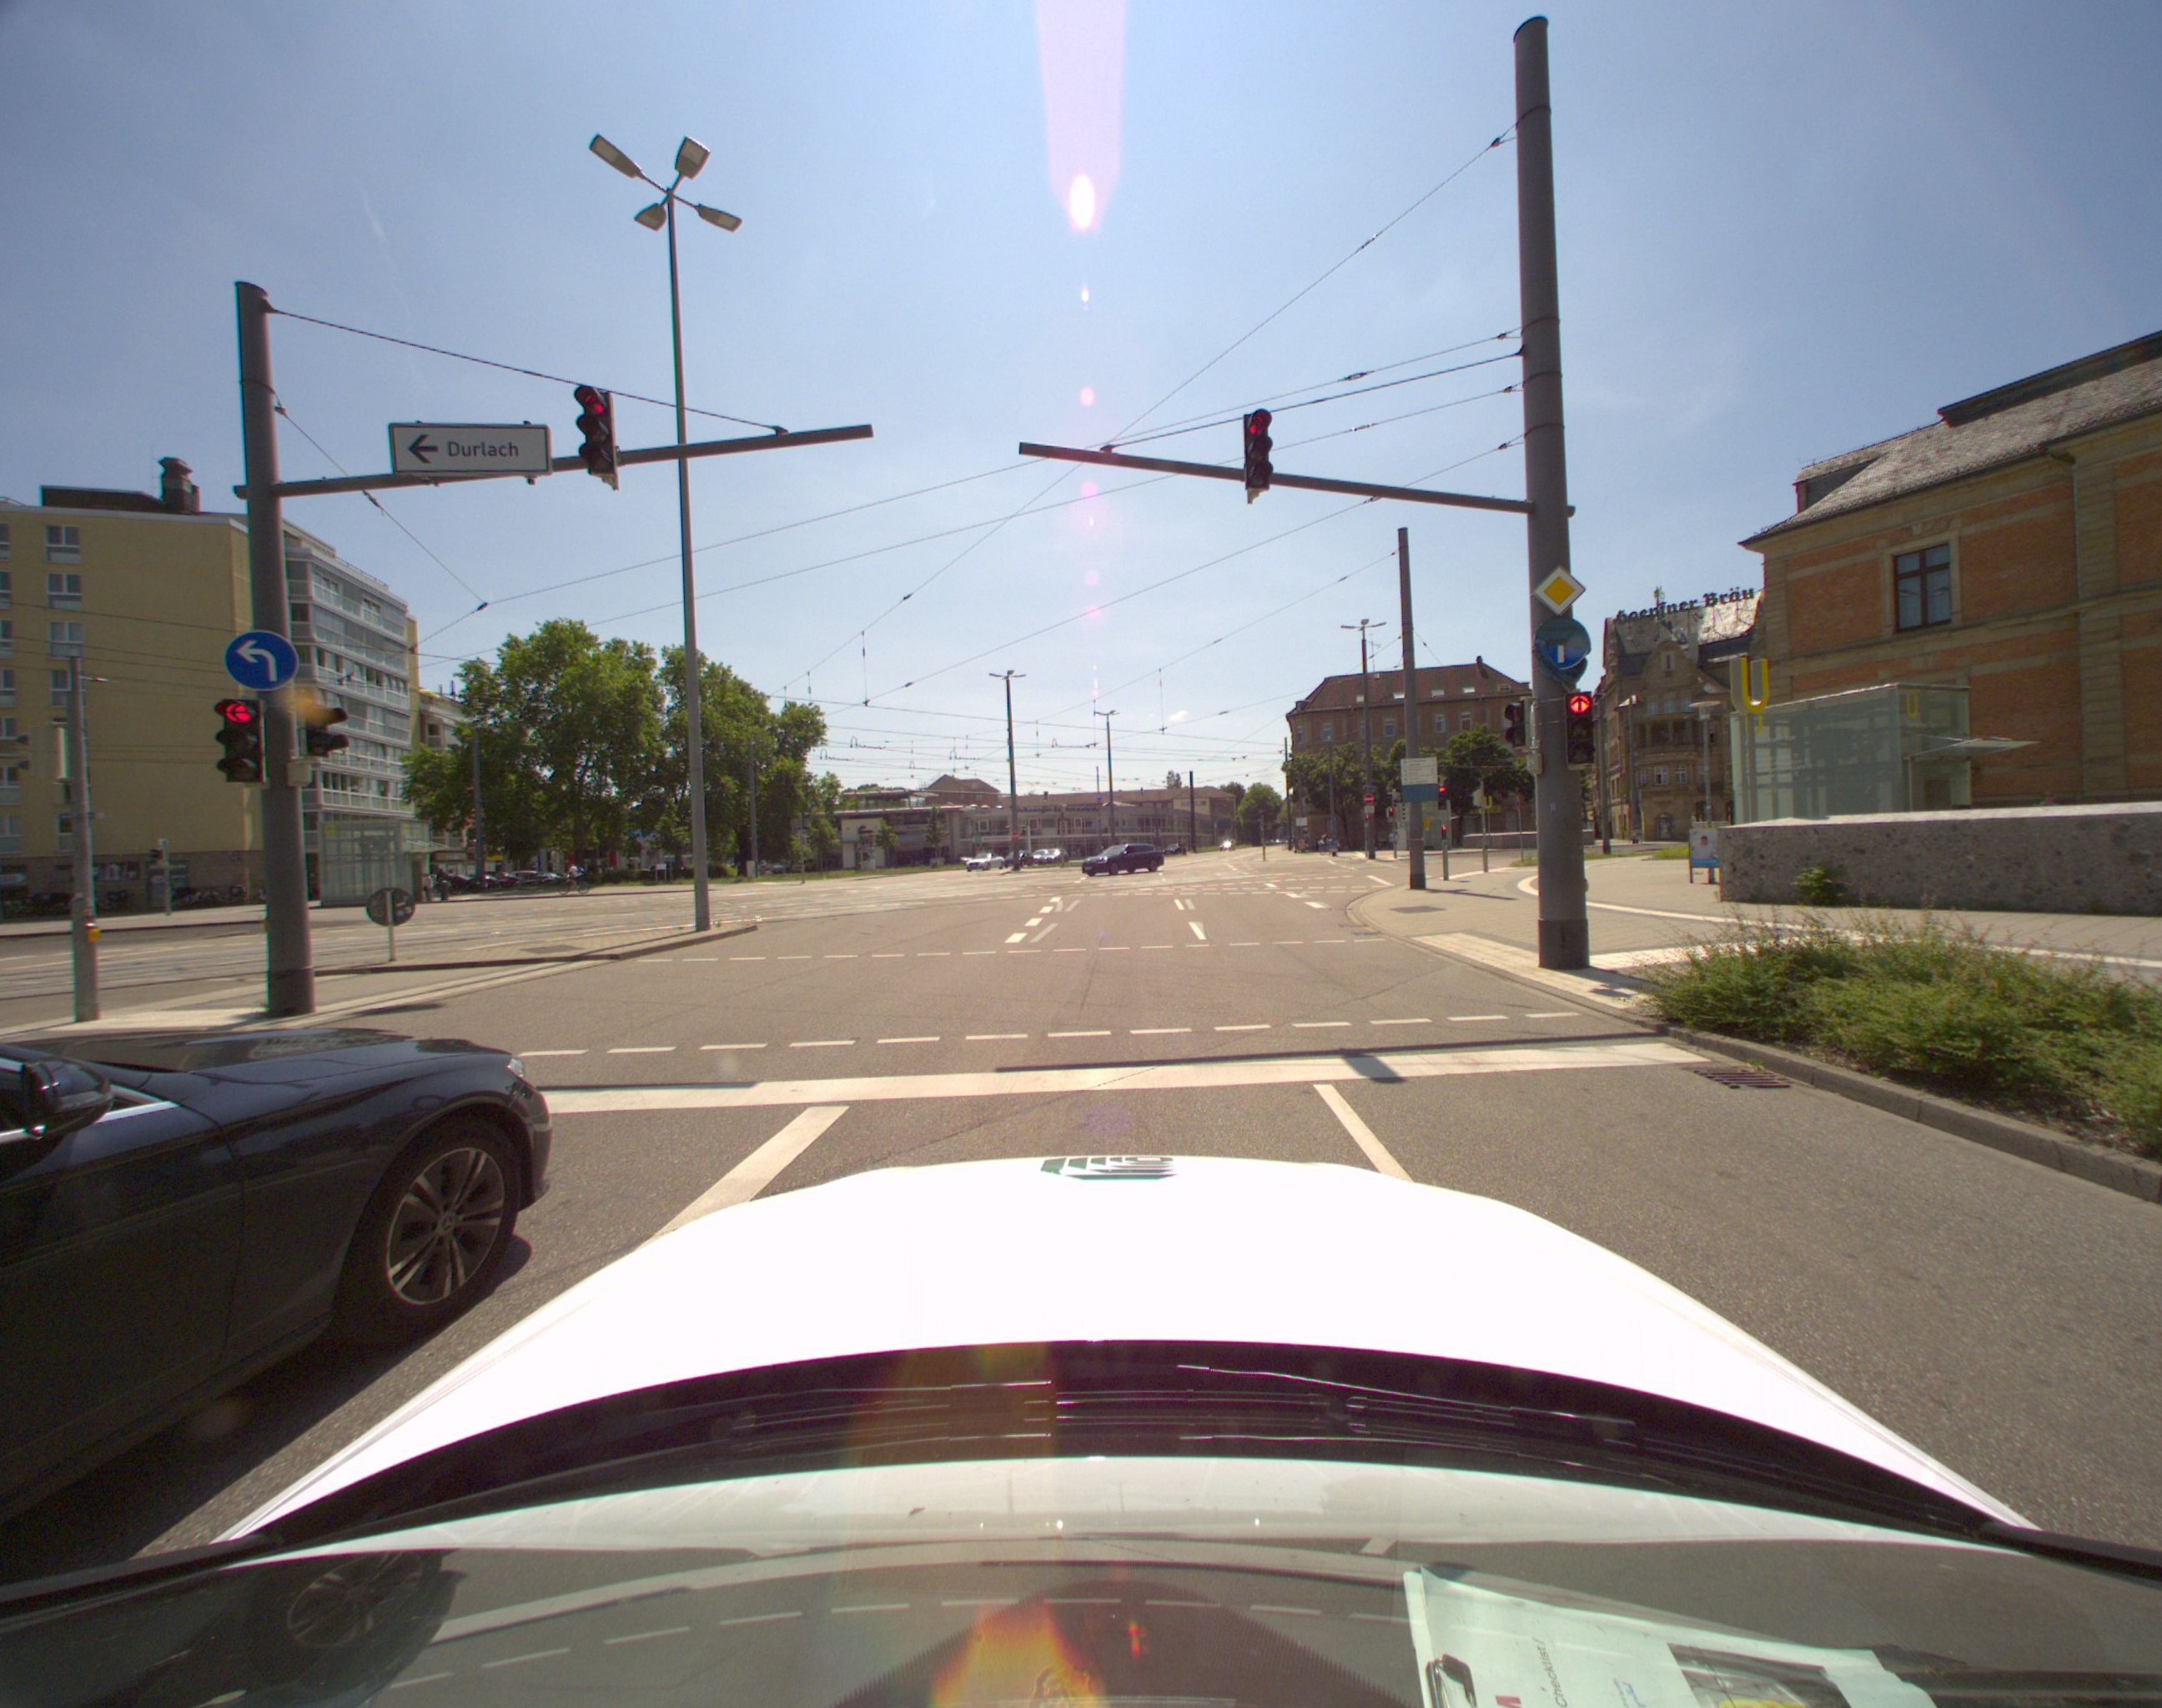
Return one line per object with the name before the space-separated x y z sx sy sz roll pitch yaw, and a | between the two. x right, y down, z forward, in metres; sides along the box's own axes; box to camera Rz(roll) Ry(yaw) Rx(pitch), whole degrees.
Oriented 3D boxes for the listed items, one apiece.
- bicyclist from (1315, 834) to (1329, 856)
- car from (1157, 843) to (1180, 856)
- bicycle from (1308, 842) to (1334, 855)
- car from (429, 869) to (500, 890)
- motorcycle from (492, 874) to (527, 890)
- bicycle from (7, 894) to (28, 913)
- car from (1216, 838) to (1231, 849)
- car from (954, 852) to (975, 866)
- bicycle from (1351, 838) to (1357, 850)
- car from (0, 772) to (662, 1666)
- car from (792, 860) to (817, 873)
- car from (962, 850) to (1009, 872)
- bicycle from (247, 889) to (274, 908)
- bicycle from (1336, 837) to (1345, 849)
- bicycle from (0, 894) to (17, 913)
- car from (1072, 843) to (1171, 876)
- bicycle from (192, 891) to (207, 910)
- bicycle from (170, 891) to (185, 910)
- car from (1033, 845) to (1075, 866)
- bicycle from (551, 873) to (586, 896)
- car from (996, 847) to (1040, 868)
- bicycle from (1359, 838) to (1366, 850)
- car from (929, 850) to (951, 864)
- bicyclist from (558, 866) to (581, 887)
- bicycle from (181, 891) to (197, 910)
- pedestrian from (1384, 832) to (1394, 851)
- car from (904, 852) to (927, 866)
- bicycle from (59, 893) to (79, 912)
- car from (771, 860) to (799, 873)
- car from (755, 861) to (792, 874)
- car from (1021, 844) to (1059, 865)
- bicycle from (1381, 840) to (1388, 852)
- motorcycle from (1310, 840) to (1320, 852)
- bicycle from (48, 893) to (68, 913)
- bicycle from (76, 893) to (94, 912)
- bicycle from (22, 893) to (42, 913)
bicyclist | 19.986 -0.744 67.616 1.065 1.808 0.475 0 -1 -23
car | 12.090 -0.595 111.781 2.062 1.682 4.870 -2 0 19
bicycle | 19.944 -0.465 67.583 2.115 1.052 0.687 0 -1 -24
car | -48.962 2.016 64.761 3.999 1.420 1.987 -2 0 -19
motorcycle | -39.432 1.917 56.224 1.926 0.961 0.521 -2 0 -29
bicycle | -58.557 2.717 44.850 0.435 1.026 1.426 -2 0 -42
car | 23.136 -1.678 131.980 1.978 1.776 4.017 -1 -1 16
car | -14.522 0.582 101.496 1.913 1.707 4.002 0 0 2
bicycle | 26.559 -0.951 79.178 0.546 1.120 1.829 -2 0 19
car | -2.912 0.703 1.276 1.790 1.640 4.808 -2 0 2
car | -34.997 1.523 103.074 1.763 1.510 4.322 -2 0 -3
car | -7.631 0.518 65.475 2.061 1.580 4.866 -2 0 15
bicycle | -49.385 2.683 49.028 0.432 1.026 1.437 -2 0 -14
bicycle | 25.480 -1.082 79.991 0.440 1.146 2.099 -1 -1 9
bicycle | -59.027 2.720 44.722 0.435 1.026 1.426 -2 0 -42
car | 2.124 0.247 41.492 4.869 1.465 1.977 -3 0 -37
bicycle | -50.906 2.679 47.049 0.435 1.026 1.426 -2 0 -42
bicycle | -51.793 2.682 46.689 0.435 1.026 1.426 -2 0 -42
car | -2.331 0.088 71.788 1.977 1.637 4.870 -2 0 19
bicycle | -29.602 1.745 47.042 1.508 1.216 0.713 -2 0 -16
car | -5.497 0.276 71.574 1.977 1.700 4.870 -2 0 19
bicycle | 27.322 -0.980 79.045 0.546 1.120 1.829 -2 0 18
car | -17.572 0.408 101.562 1.913 1.707 4.002 0 0 2
bicyclist | -29.556 1.288 47.056 0.927 1.142 0.713 -2 0 -16
bicycle | -51.328 2.680 46.859 0.435 1.026 1.426 -2 0 -42
pedestrian | 27.607 -1.117 73.091 0.463 1.708 0.635 -2 0 -22
car | -20.625 0.628 101.625 1.913 1.707 4.002 0 0 2
bicycle | -56.509 2.707 45.476 0.435 1.026 1.426 -2 0 -42
car | -37.658 1.581 103.618 1.760 1.510 4.330 -2 0 3
car | -41.165 1.819 108.983 4.344 1.510 1.754 -3 0 -34
car | -3.848 0.020 77.089 1.977 1.739 4.565 -2 0 19
bicycle | 29.501 -0.789 79.143 0.546 1.119 1.879 -2 0 18
motorcycle | 22.924 -0.783 79.750 0.577 1.074 1.949 -2 0 6
bicycle | -57.015 2.710 45.400 0.435 1.026 1.426 -2 0 -42
bicycle | -56.012 2.706 45.798 0.435 1.026 1.426 -2 0 -42
bicycle | -57.958 2.714 45.003 0.435 1.026 1.426 -2 0 -42
